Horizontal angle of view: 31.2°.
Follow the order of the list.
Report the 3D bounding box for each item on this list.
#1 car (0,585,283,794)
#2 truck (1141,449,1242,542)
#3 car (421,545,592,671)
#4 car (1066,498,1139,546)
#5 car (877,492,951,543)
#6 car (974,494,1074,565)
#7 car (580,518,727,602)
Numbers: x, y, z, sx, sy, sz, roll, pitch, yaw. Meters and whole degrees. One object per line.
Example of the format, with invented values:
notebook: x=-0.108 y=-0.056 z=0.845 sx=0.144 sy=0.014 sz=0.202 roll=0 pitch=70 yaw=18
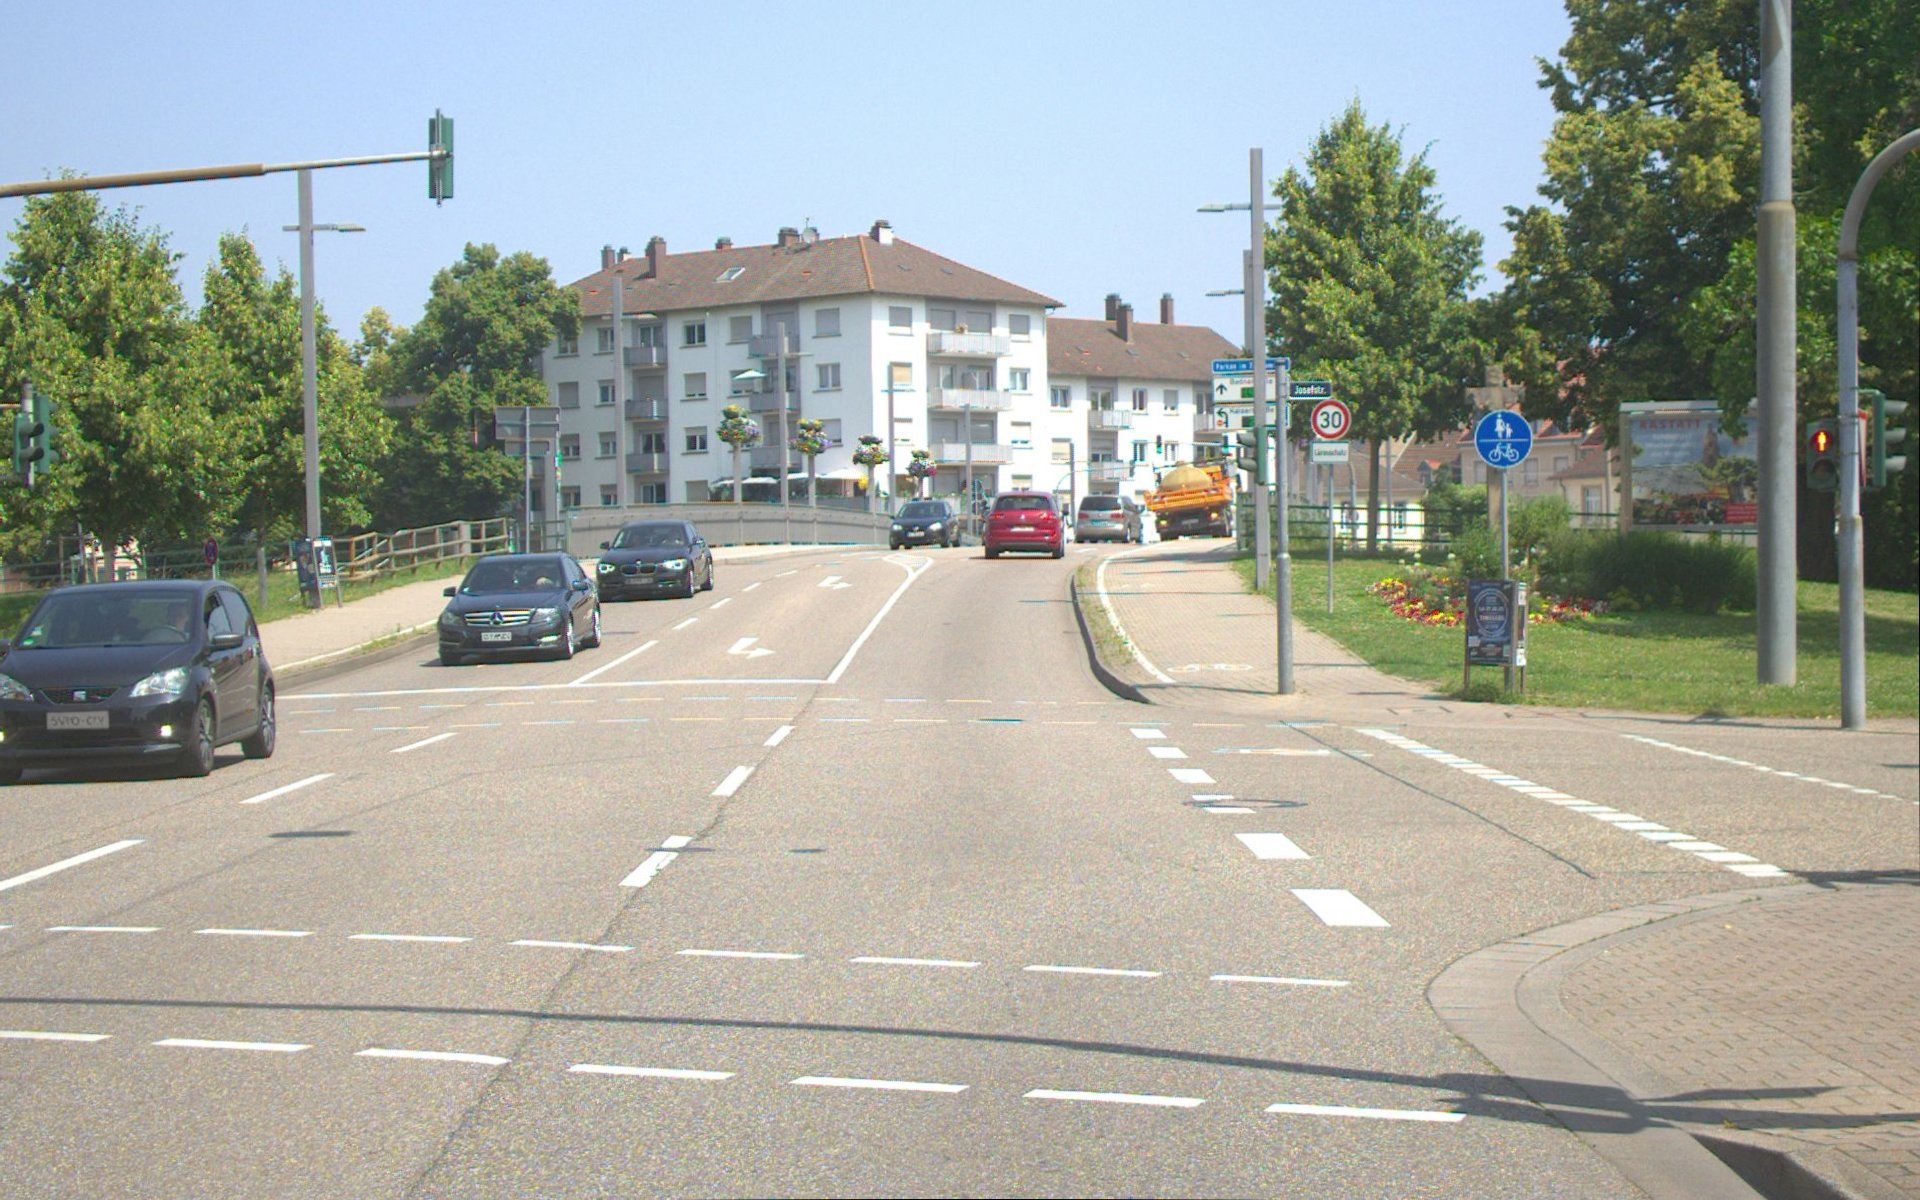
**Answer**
car: x=-6.342 y=0.629 z=26.358 sx=1.616 sy=1.451 sz=3.710 roll=-1 pitch=1 yaw=-1
truck: x=7.090 y=-3.148 z=104.678 sx=2.606 sy=2.682 sz=5.821 roll=-1 pitch=1 yaw=8
car: x=-6.207 y=0.073 z=47.505 sx=1.755 sy=1.555 sz=4.318 roll=-2 pitch=1 yaw=0
car: x=4.750 y=-2.588 z=114.331 sx=2.038 sy=1.498 sz=4.416 roll=1 pitch=0 yaw=7
car: x=-1.383 y=-2.510 z=105.185 sx=1.714 sy=1.480 sz=4.030 roll=1 pitch=0 yaw=7
car: x=1.549 y=-1.675 z=81.875 sx=1.990 sy=1.607 sz=4.341 roll=-1 pitch=1 yaw=6
car: x=-5.709 y=-0.766 z=64.489 sx=1.837 sy=1.394 sz=4.049 roll=-4 pitch=1 yaw=7
